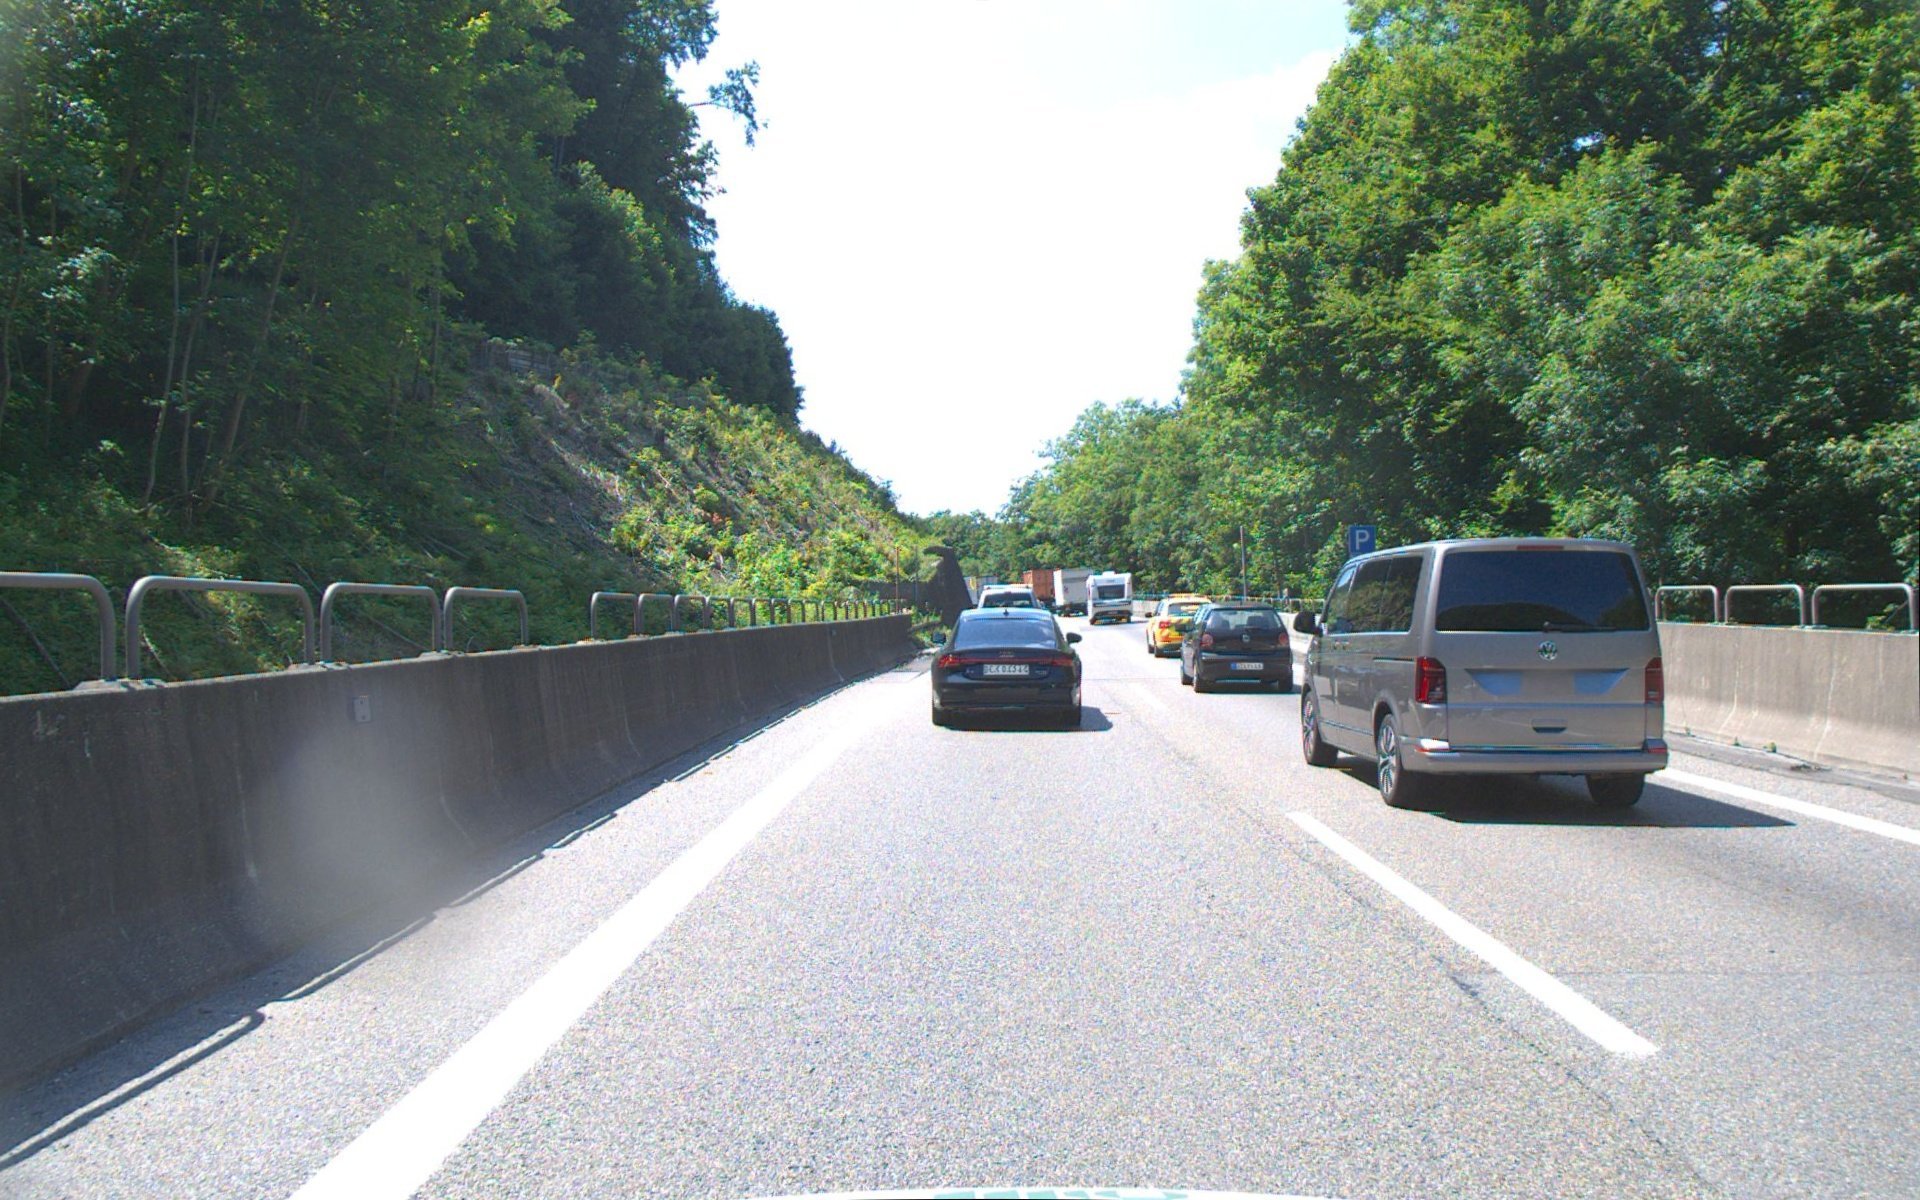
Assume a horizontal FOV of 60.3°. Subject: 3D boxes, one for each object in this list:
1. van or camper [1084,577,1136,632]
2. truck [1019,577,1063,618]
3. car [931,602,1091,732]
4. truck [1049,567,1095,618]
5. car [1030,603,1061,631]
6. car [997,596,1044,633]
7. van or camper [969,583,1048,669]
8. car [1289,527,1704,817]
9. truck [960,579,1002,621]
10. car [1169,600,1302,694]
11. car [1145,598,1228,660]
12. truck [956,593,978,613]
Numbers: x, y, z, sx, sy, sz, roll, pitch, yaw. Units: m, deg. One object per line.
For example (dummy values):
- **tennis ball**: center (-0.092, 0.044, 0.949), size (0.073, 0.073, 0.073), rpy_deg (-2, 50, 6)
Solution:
- **van or camper**: center (8.094, 0.255, 89.893), size (2.549, 2.905, 6.338), rpy_deg (0, 0, 3)
- **truck**: center (7.109, -0.197, 146.544), size (3.100, 3.529, 8.216), rpy_deg (0, 0, -3)
- **car**: center (0.621, 0.792, 21.474), size (1.865, 1.515, 4.379), rpy_deg (0, 0, 1)
- **truck**: center (8.462, -0.521, 125.659), size (2.866, 3.752, 7.722), rpy_deg (0, 0, -1)
- **car**: center (4.976, 0.992, 96.424), size (1.715, 1.598, 3.771), rpy_deg (0, 0, 1)
- **car**: center (2.710, 0.648, 74.691), size (1.857, 1.612, 3.769), rpy_deg (0, 0, -2)
- **van or camper**: center (1.228, 0.607, 40.414), size (1.815, 1.976, 4.166), rpy_deg (0, 0, 3)
- **car**: center (4.113, 0.498, 13.589), size (1.901, 1.965, 4.694), rpy_deg (0, 0, 0)
- **truck**: center (2.328, -0.004, 186.742), size (3.640, 4.583, 7.710), rpy_deg (0, 0, -8)
- **car**: center (4.634, 0.752, 28.318), size (1.650, 1.484, 4.000), rpy_deg (0, 0, 0)
- **car**: center (5.758, 0.710, 42.463), size (1.770, 1.503, 4.083), rpy_deg (0, 0, 3)
- **truck**: center (0.762, 0.323, 172.417), size (1.954, 2.049, 3.996), rpy_deg (0, 0, -5)
